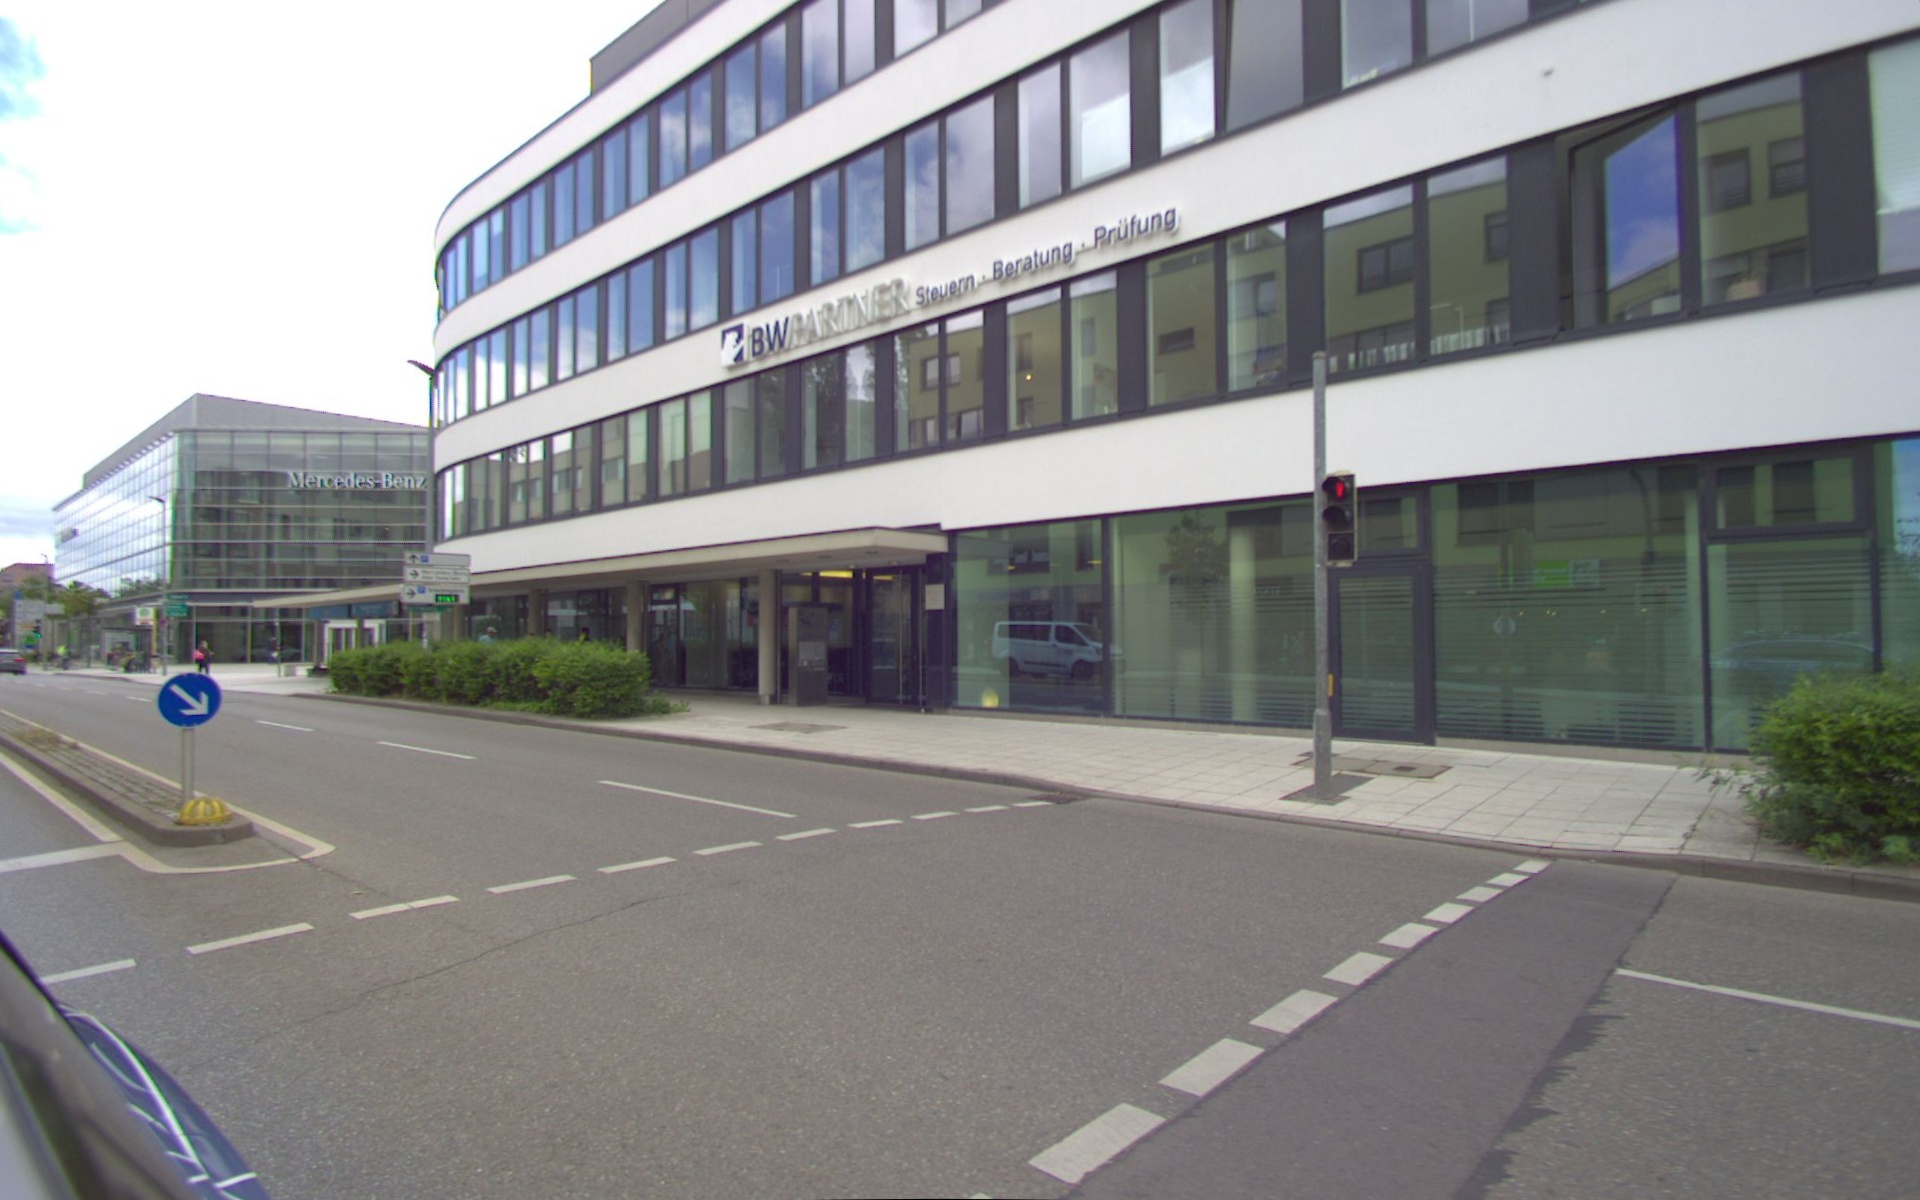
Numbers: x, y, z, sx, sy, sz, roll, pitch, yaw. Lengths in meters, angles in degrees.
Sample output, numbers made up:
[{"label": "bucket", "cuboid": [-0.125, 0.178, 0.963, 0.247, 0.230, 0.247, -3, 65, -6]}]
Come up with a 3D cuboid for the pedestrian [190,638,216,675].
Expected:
[{"label": "pedestrian", "cuboid": [-32.954, 2.454, 44.043, 0.820, 1.579, 0.814, 0, -2, -43]}]

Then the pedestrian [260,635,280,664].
[{"label": "pedestrian", "cuboid": [-47.892, 3.434, 70.263, 0.740, 1.960, 0.901, -1, -1, 3]}]

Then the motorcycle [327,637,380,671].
[{"label": "motorcycle", "cuboid": [-26.361, 2.339, 44.005, 1.833, 1.343, 0.636, -1, -1, -45]}]

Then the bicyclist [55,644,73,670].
[{"label": "bicyclist", "cuboid": [-59.639, 3.800, 67.383, 0.771, 1.661, 0.640, -2, -1, -33]}]

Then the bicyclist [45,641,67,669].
[{"label": "bicyclist", "cuboid": [-61.801, 3.747, 69.203, 0.762, 1.813, 0.748, -2, -1, -4]}]

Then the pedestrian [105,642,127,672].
[{"label": "pedestrian", "cuboid": [-45.975, 3.096, 55.151, 0.568, 1.644, 0.686, 0, -3, 1]}]

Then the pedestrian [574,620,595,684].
[{"label": "pedestrian", "cuboid": [-10.376, 1.435, 27.981, 0.497, 1.743, 0.617, 0, -2, -17]}]

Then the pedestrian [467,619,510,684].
[{"label": "pedestrian", "cuboid": [-12.645, 1.369, 27.137, 0.931, 1.686, 0.722, -3, -2, 44]}]

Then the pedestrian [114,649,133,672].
[{"label": "pedestrian", "cuboid": [-45.349, 3.286, 54.889, 0.576, 1.263, 0.677, -3, -4, 40]}]

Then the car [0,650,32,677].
[{"label": "car", "cuboid": [-53.472, 3.545, 56.639, 4.470, 1.426, 1.876, -3, -1, 42]}]

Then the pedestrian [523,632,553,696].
[{"label": "pedestrian", "cuboid": [-11.544, 1.751, 27.705, 0.501, 1.723, 0.613, -1, -2, 11]}]

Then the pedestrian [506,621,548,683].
[{"label": "pedestrian", "cuboid": [-11.738, 1.391, 27.433, 0.931, 1.625, 0.722, -3, -2, 44]}]

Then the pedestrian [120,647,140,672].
[{"label": "pedestrian", "cuboid": [-44.368, 3.193, 54.087, 0.576, 1.330, 0.677, -3, -5, 40]}]

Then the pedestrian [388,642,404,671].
[{"label": "pedestrian", "cuboid": [-39.572, 3.965, 70.970, 0.747, 1.960, 0.680, -2, -2, 29]}]

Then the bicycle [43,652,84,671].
[{"label": "bicycle", "cuboid": [-59.657, 4.059, 67.361, 1.973, 1.139, 0.640, -2, -1, -33]}]

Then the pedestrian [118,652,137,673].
[{"label": "pedestrian", "cuboid": [-44.865, 3.363, 54.529, 0.576, 1.084, 0.677, -3, -5, 40]}]

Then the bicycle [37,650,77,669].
[{"label": "bicycle", "cuboid": [-61.761, 4.056, 69.213, 2.000, 1.215, 0.748, -2, -1, -4]}]
